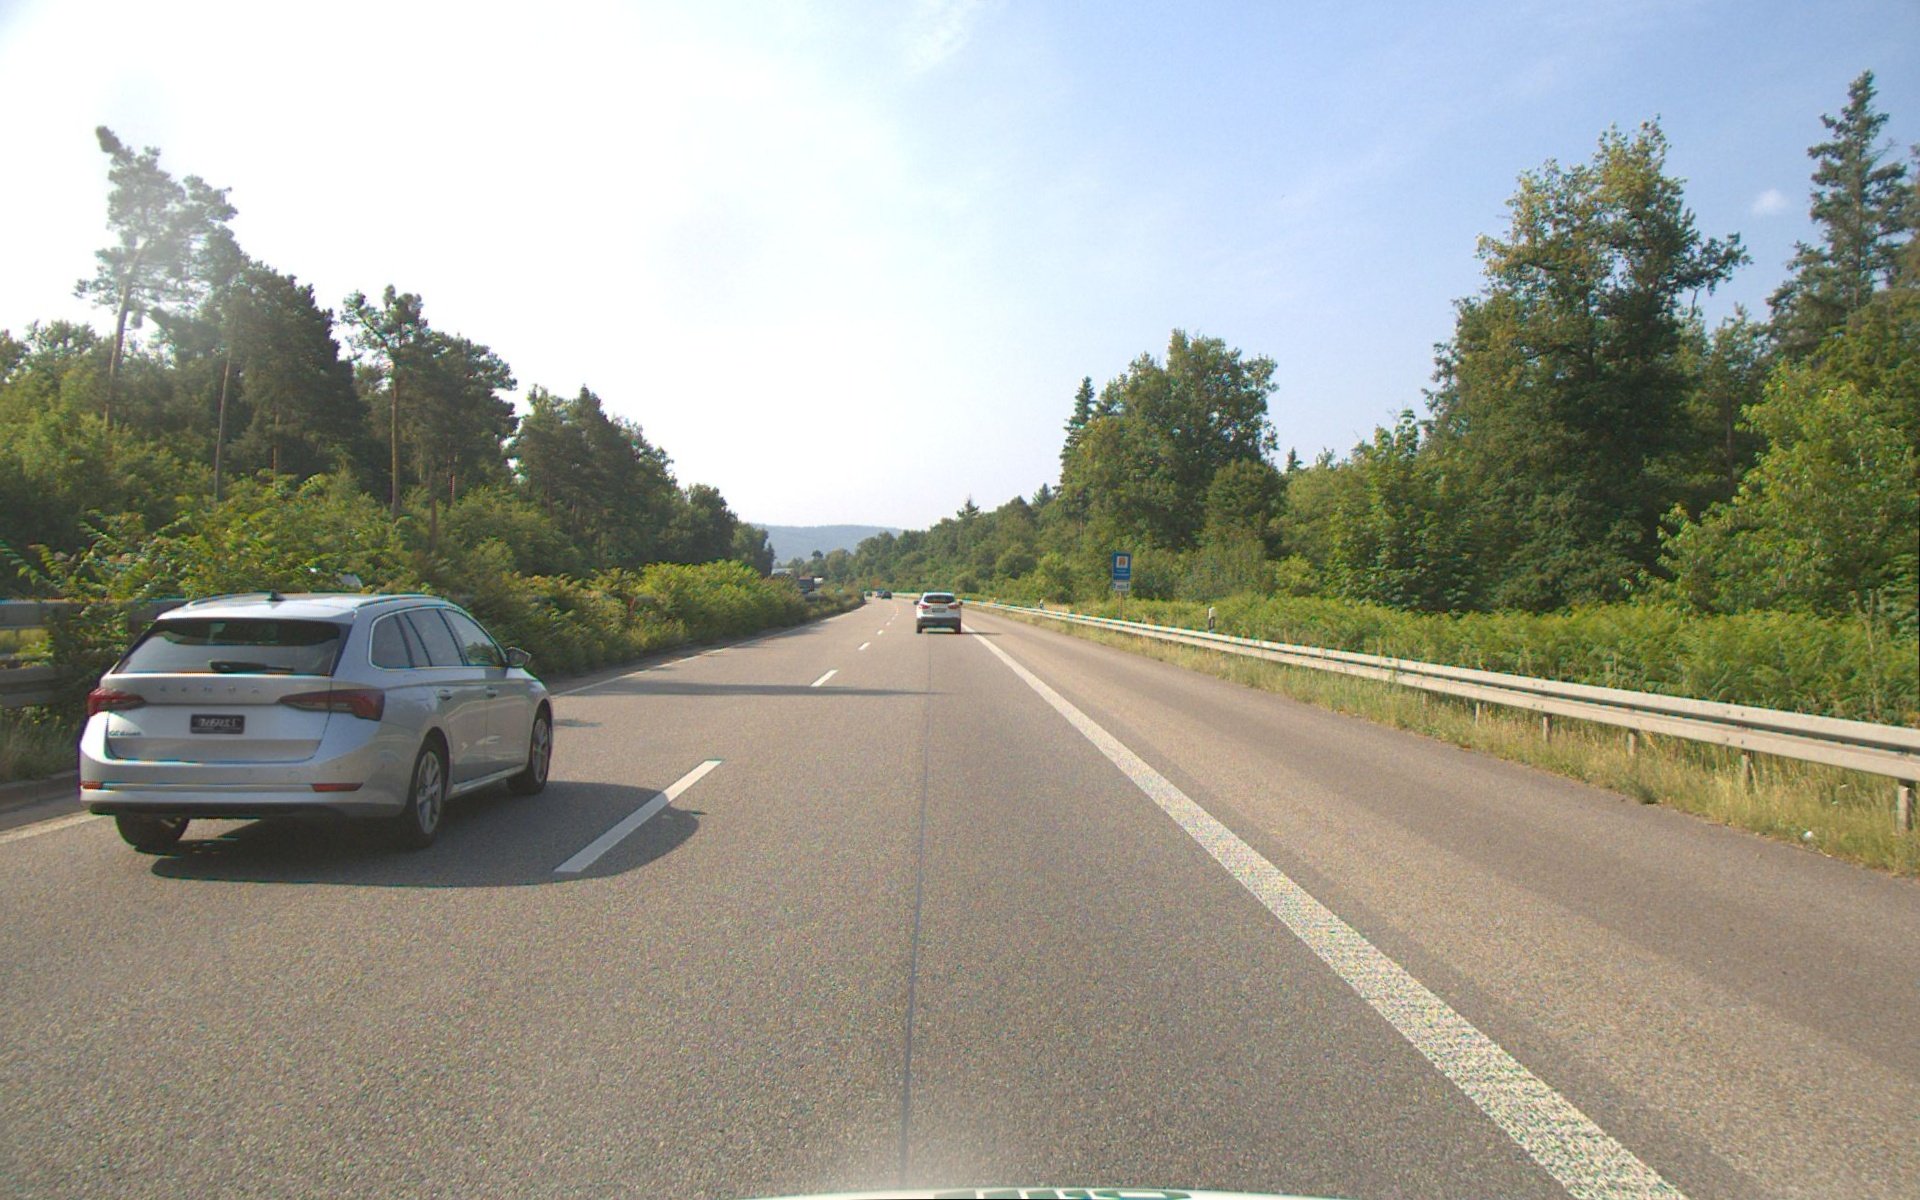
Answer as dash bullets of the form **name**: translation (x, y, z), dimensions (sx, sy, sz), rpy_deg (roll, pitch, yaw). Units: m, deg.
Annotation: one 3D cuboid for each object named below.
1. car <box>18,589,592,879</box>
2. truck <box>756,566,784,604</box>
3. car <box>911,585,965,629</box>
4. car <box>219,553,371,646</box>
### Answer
- **car**: translation (-3.921, 0.662, 11.060), dimensions (1.755, 1.463, 5.278), rpy_deg (0, 0, 0)
- **truck**: translation (-22.030, -1.754, 192.214), dimensions (2.654, 4.274, 6.291), rpy_deg (0, 0, -2)
- **car**: translation (-0.910, 0.252, 65.917), dimensions (1.837, 1.614, 3.996), rpy_deg (2, 0, -5)
- **car**: translation (-15.694, 0.003, 39.291), dimensions (1.778, 2.049, 4.493), rpy_deg (1, 0, -1)
